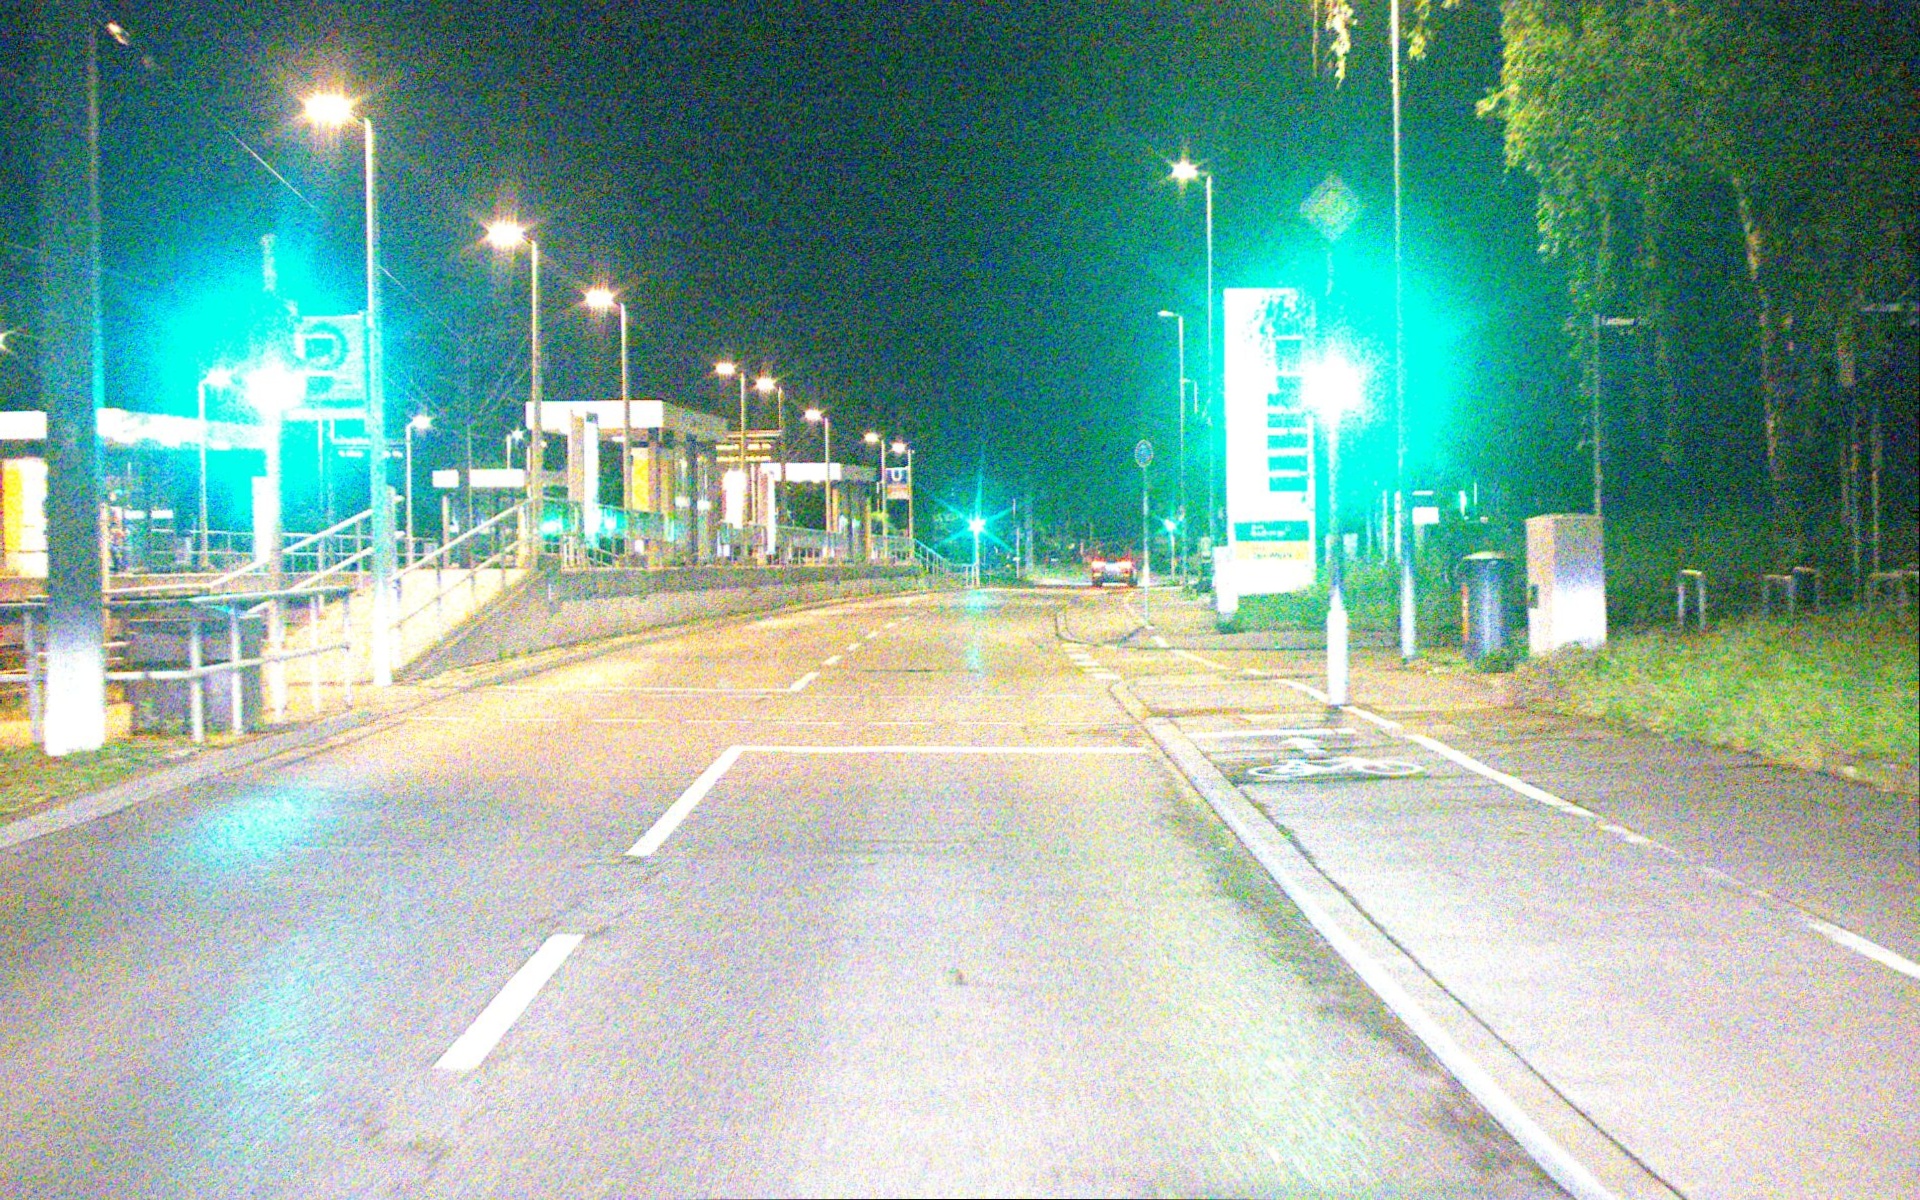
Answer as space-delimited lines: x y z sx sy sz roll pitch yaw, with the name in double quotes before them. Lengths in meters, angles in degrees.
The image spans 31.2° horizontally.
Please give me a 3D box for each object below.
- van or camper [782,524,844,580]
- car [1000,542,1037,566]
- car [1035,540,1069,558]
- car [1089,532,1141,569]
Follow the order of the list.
"van or camper" -7.168 -2.355 168.084 2.273 2.638 5.663 -2 1 4
"car" 4.135 -3.257 242.461 1.994 1.622 4.676 0 1 8
"car" 7.039 -3.882 262.072 1.994 1.333 5.430 0 1 8
"car" 6.877 -2.175 152.280 2.162 1.577 4.013 1 1 4
